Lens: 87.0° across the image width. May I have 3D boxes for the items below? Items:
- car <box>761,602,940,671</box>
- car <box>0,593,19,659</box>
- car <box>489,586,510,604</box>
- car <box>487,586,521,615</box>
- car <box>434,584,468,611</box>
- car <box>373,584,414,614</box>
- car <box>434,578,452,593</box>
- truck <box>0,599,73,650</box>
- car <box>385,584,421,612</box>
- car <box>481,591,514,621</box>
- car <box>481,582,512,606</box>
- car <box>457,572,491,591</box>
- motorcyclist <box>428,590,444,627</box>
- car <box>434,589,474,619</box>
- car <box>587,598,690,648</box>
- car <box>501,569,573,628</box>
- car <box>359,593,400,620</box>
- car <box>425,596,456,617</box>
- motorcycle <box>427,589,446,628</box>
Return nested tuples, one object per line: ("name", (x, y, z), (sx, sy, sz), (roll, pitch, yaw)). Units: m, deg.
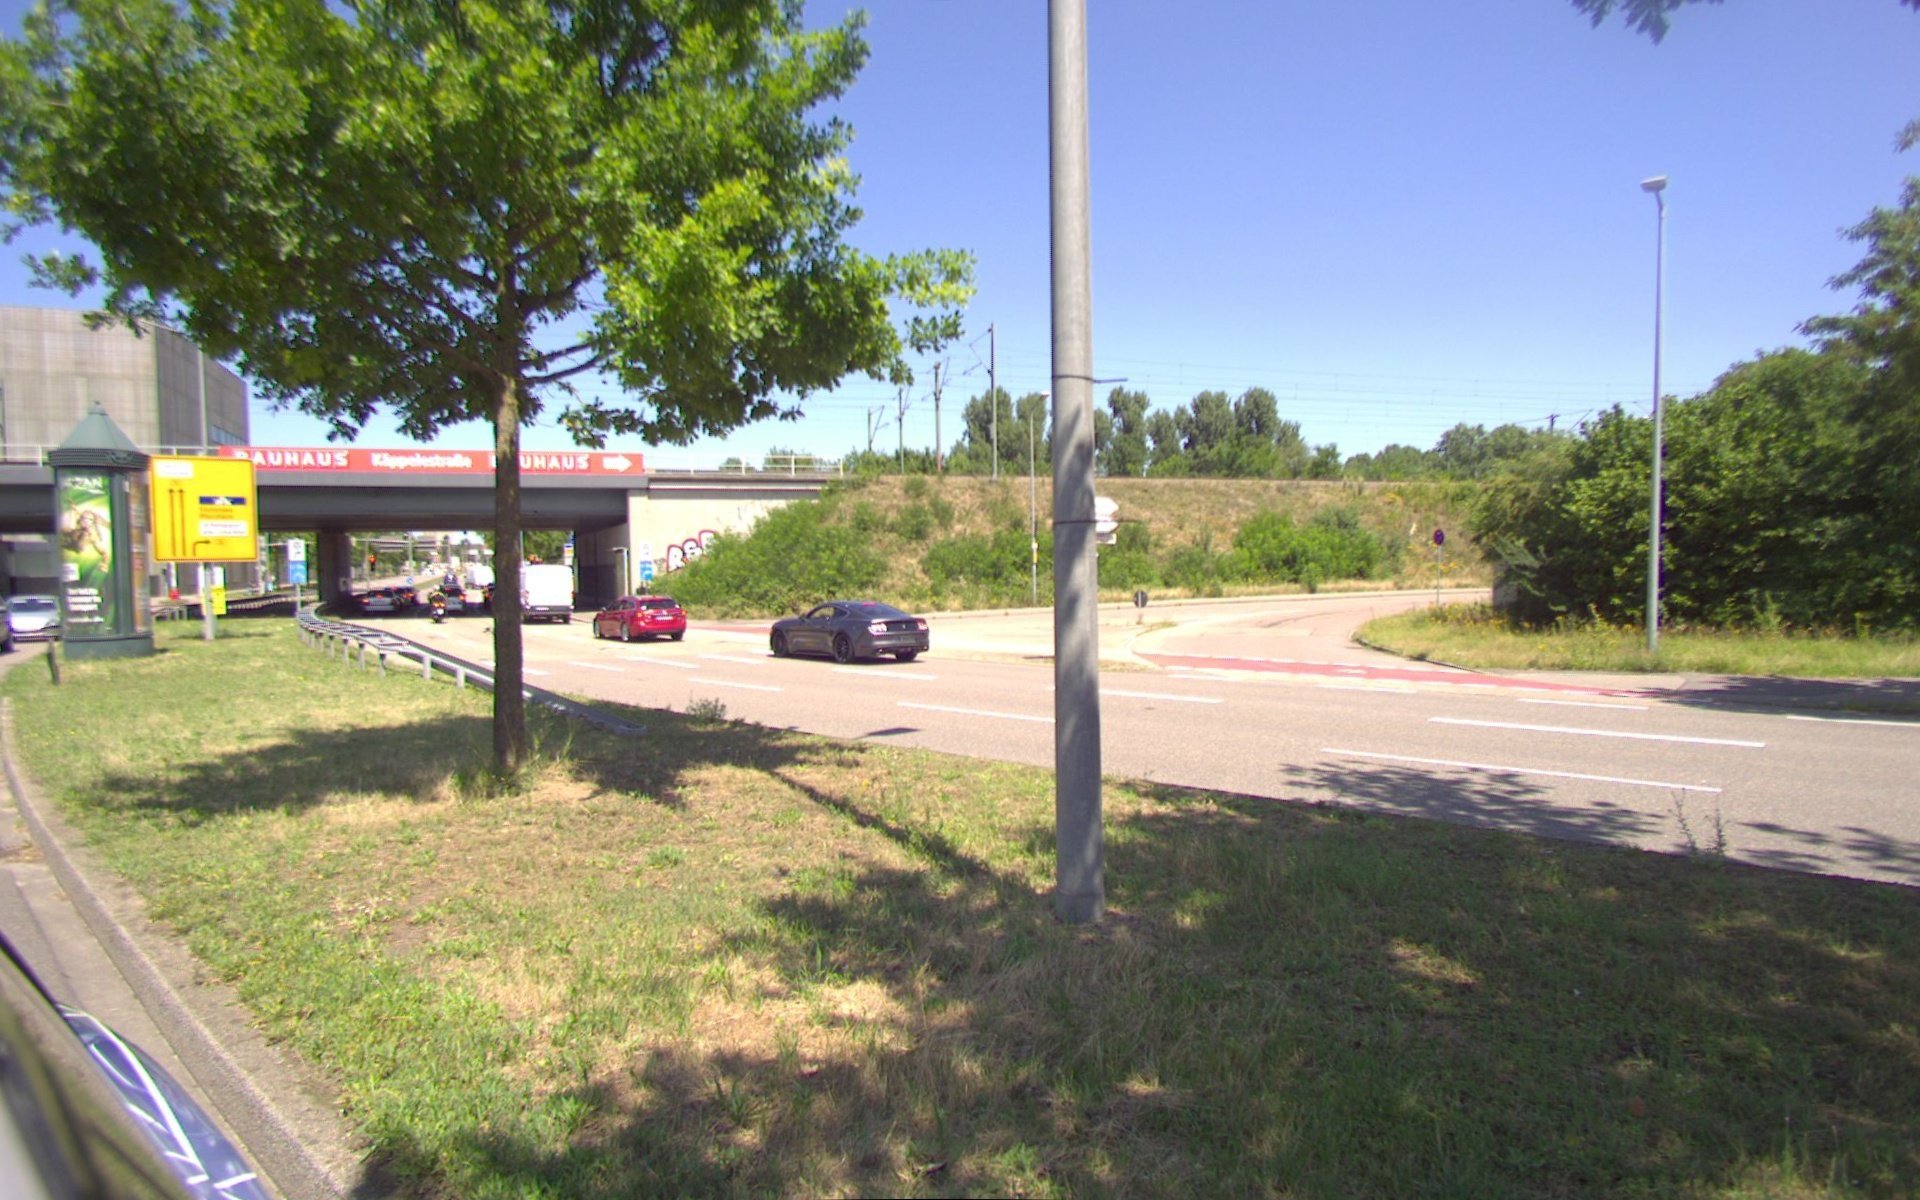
("car", (-2.593, 0.744, 23.041), (1.787, 1.343, 4.576), (-1, 1, -41))
("car", (-25.489, 0.688, 25.582), (1.816, 1.708, 3.710), (-1, 1, -33))
("car", (-33.723, -0.358, 74.167), (1.166, 1.257, 2.701), (-1, 1, -19))
("car", (-28.063, 0.017, 62.218), (1.747, 1.680, 4.028), (-2, 1, -25))
("car", (-36.550, -0.205, 72.735), (1.875, 1.874, 4.013), (-1, 1, -23))
("car", (-37.262, -0.091, 66.630), (1.875, 1.874, 4.013), (-1, 1, -23))
("car", (-71.592, -1.996, 140.207), (1.965, 2.029, 4.013), (-1, 1, -25))
("truck", (-30.785, 0.767, 33.548), (1.704, 1.513, 4.009), (-1, 1, -36))
("car", (-39.562, -0.162, 71.960), (1.875, 1.874, 4.013), (-1, 1, -23))
("car", (-25.628, 0.293, 56.176), (1.493, 1.553, 3.692), (-1, 1, -22))
("car", (-30.856, -0.404, 67.464), (1.548, 1.514, 3.418), (-1, 1, -19))
("car", (-57.135, -2.140, 118.864), (1.969, 2.118, 6.392), (-1, 1, -41))
("motorcyclist", (-23.199, 0.380, 44.831), (0.579, 1.638, 0.564), (-1, 1, -30))
("car", (-27.190, 0.215, 54.494), (1.611, 1.579, 4.086), (0, 0, -22))
("car", (-10.408, 0.677, 32.564), (1.806, 1.448, 4.536), (-1, 1, -36))
("car", (-19.237, 0.004, 45.900), (2.065, 2.519, 5.825), (0, -1, -32))
("car", (-31.125, 0.335, 54.315), (1.611, 1.413, 4.235), (0, 0, -26))
("car", (-31.261, 0.350, 60.932), (1.250, 1.194, 2.787), (-1, 1, -19))
("motorcycle", (-23.222, 0.351, 44.865), (0.589, 1.691, 2.433), (-1, 1, -30))
